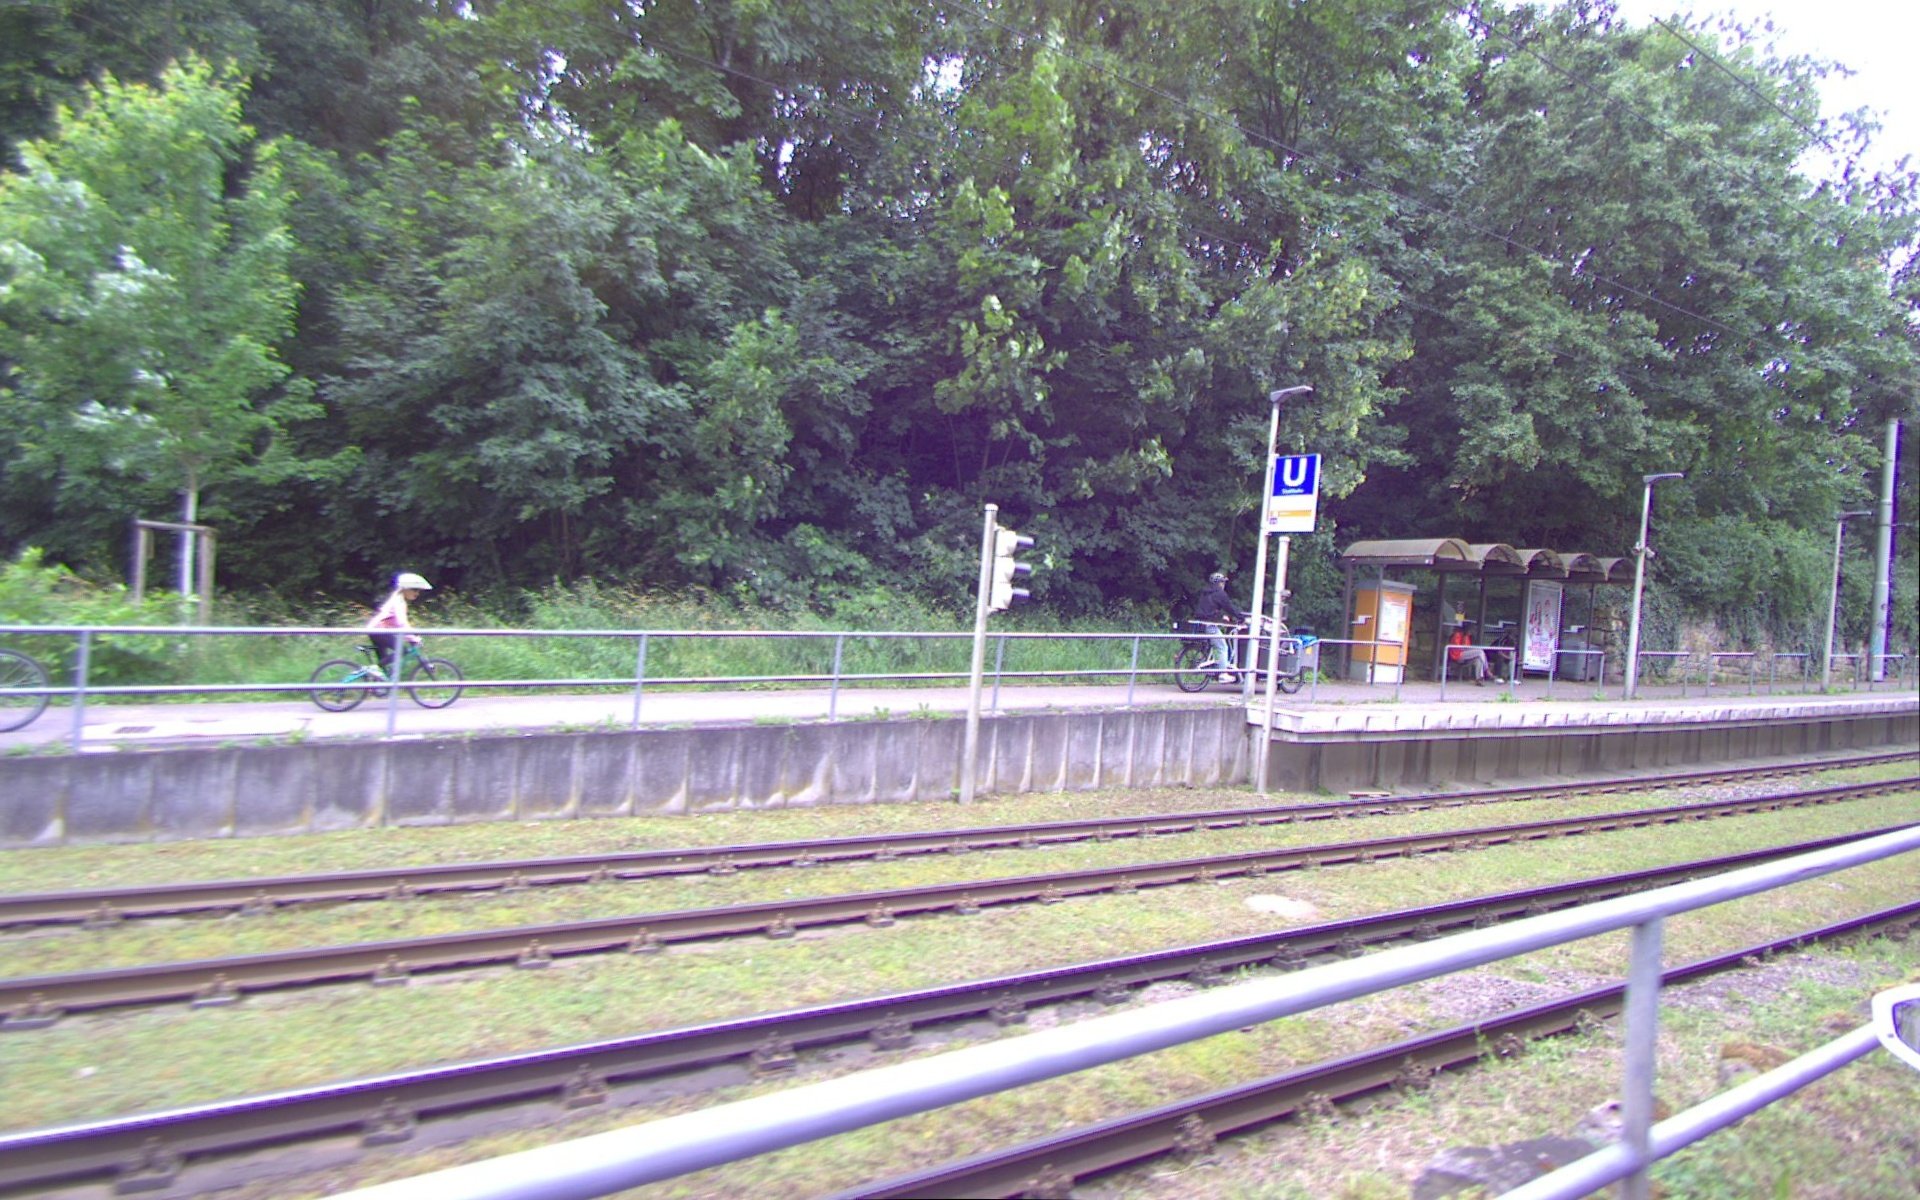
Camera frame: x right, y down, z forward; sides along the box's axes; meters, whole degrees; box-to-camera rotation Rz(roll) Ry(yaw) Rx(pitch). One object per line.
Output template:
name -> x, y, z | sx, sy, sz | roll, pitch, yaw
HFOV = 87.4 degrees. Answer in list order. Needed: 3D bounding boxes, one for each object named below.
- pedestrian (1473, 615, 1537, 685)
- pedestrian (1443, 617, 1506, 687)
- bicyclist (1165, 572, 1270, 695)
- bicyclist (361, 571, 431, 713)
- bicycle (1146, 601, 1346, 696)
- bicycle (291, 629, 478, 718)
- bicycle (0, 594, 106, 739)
pedestrian -> 11.576, 1.055, 21.339 | 0.778, 1.343, 0.768 | 5, 2, -31
pedestrian -> 10.659, 1.075, 20.814 | 0.778, 1.344, 0.768 | 2, 4, -31
bicyclist -> 3.870, 0.492, 15.110 | 1.276, 1.734, 0.730 | 1, 4, -28
bicyclist -> -5.482, 0.390, 9.753 | 0.575, 1.319, 0.451 | 0, 5, -32
bicycle -> 4.438, 0.734, 15.436 | 3.304, 1.307, 0.730 | 1, 4, -28
bicycle -> -5.547, 0.683, 9.740 | 1.542, 0.749, 0.451 | 0, 4, -33
bicycle -> -7.693, 0.489, 7.512 | 1.925, 1.055, 0.471 | 3, 4, -34
